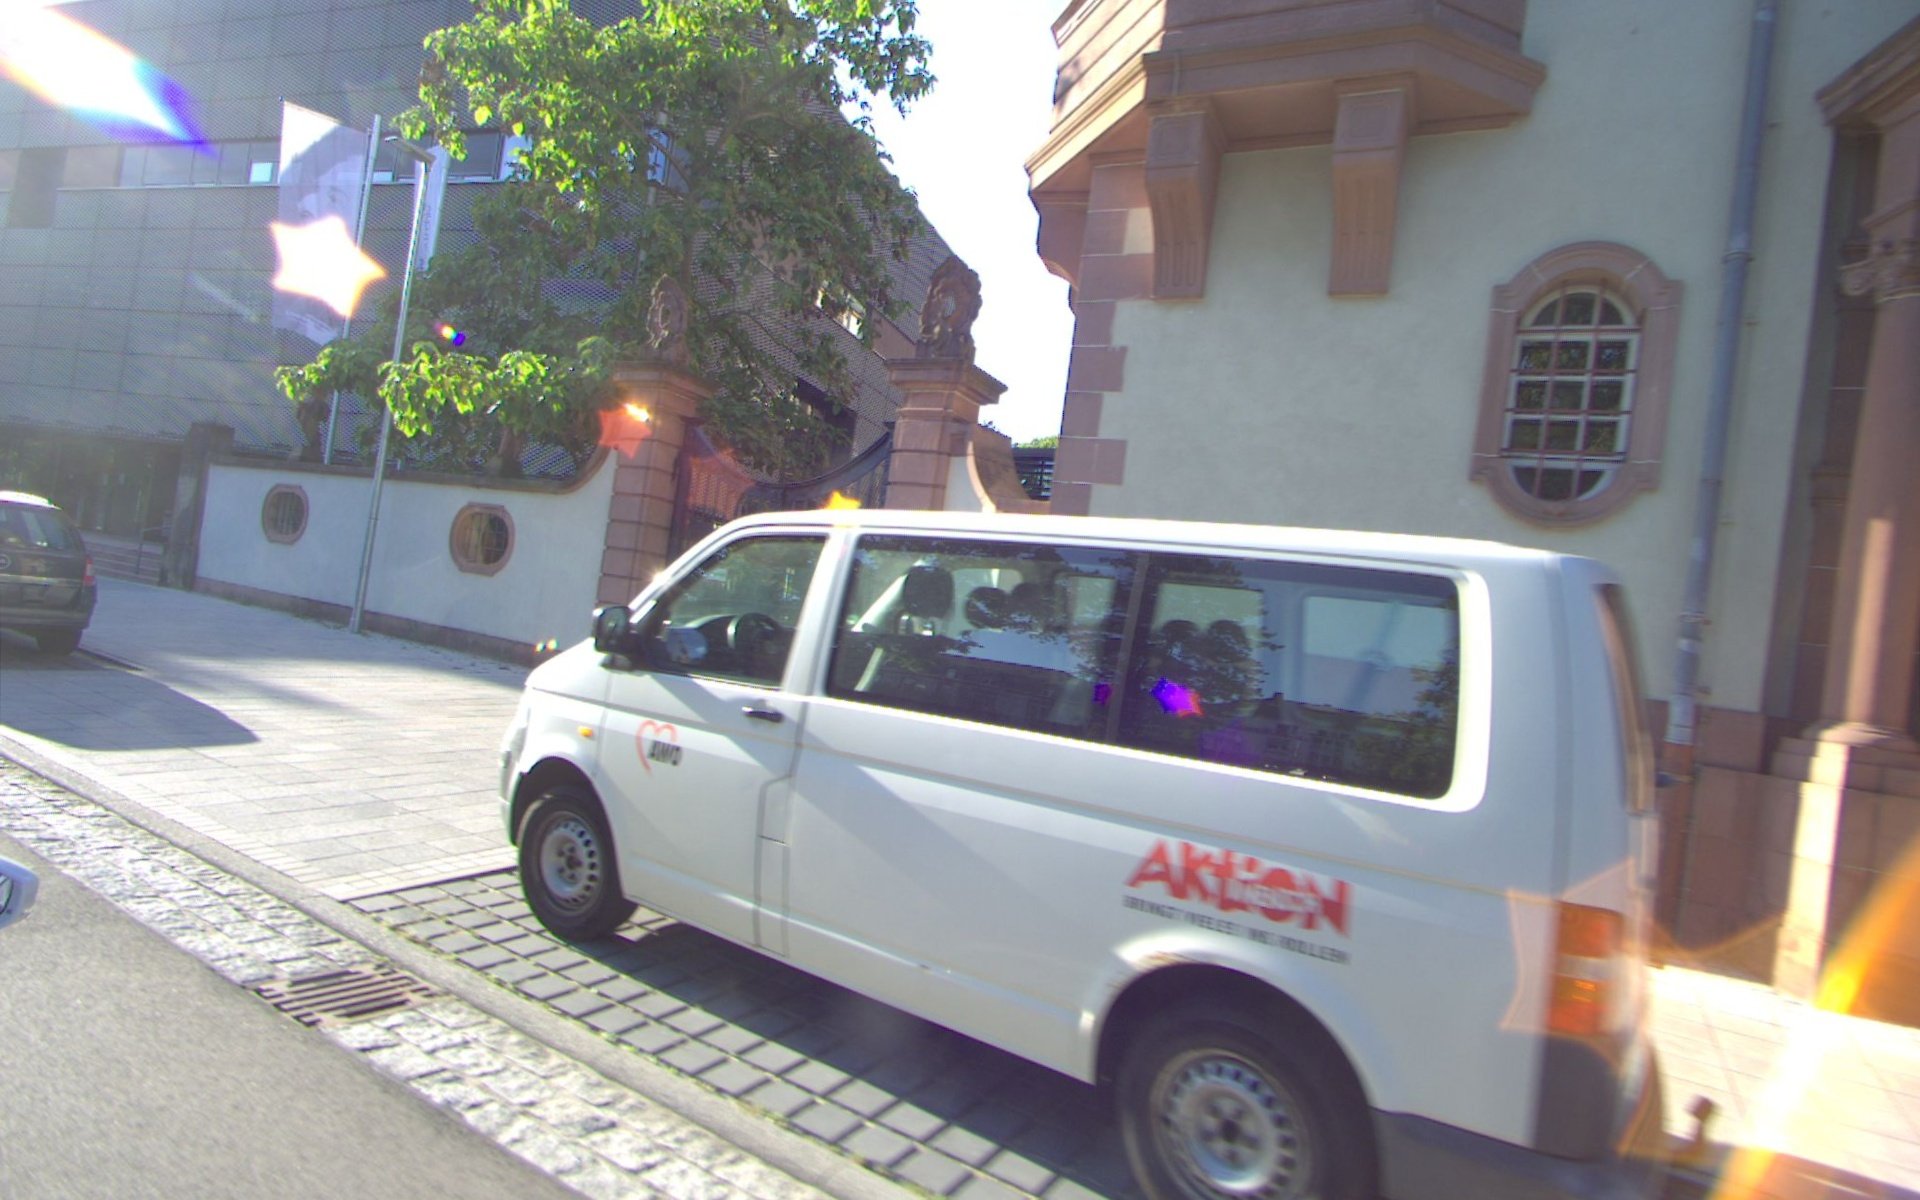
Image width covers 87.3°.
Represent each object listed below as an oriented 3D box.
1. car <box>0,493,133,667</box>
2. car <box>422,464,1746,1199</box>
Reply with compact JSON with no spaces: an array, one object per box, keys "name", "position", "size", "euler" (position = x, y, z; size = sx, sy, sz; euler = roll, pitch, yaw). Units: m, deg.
[{"name":"car","position":[-10.261,-0.401,9.885],"size":[4.401,1.484,1.750],"euler":[7,0,29]},{"name":"car","position":[0.060,0.650,4.236],"size":[4.771,1.992,1.993],"euler":[7,2,34]}]
